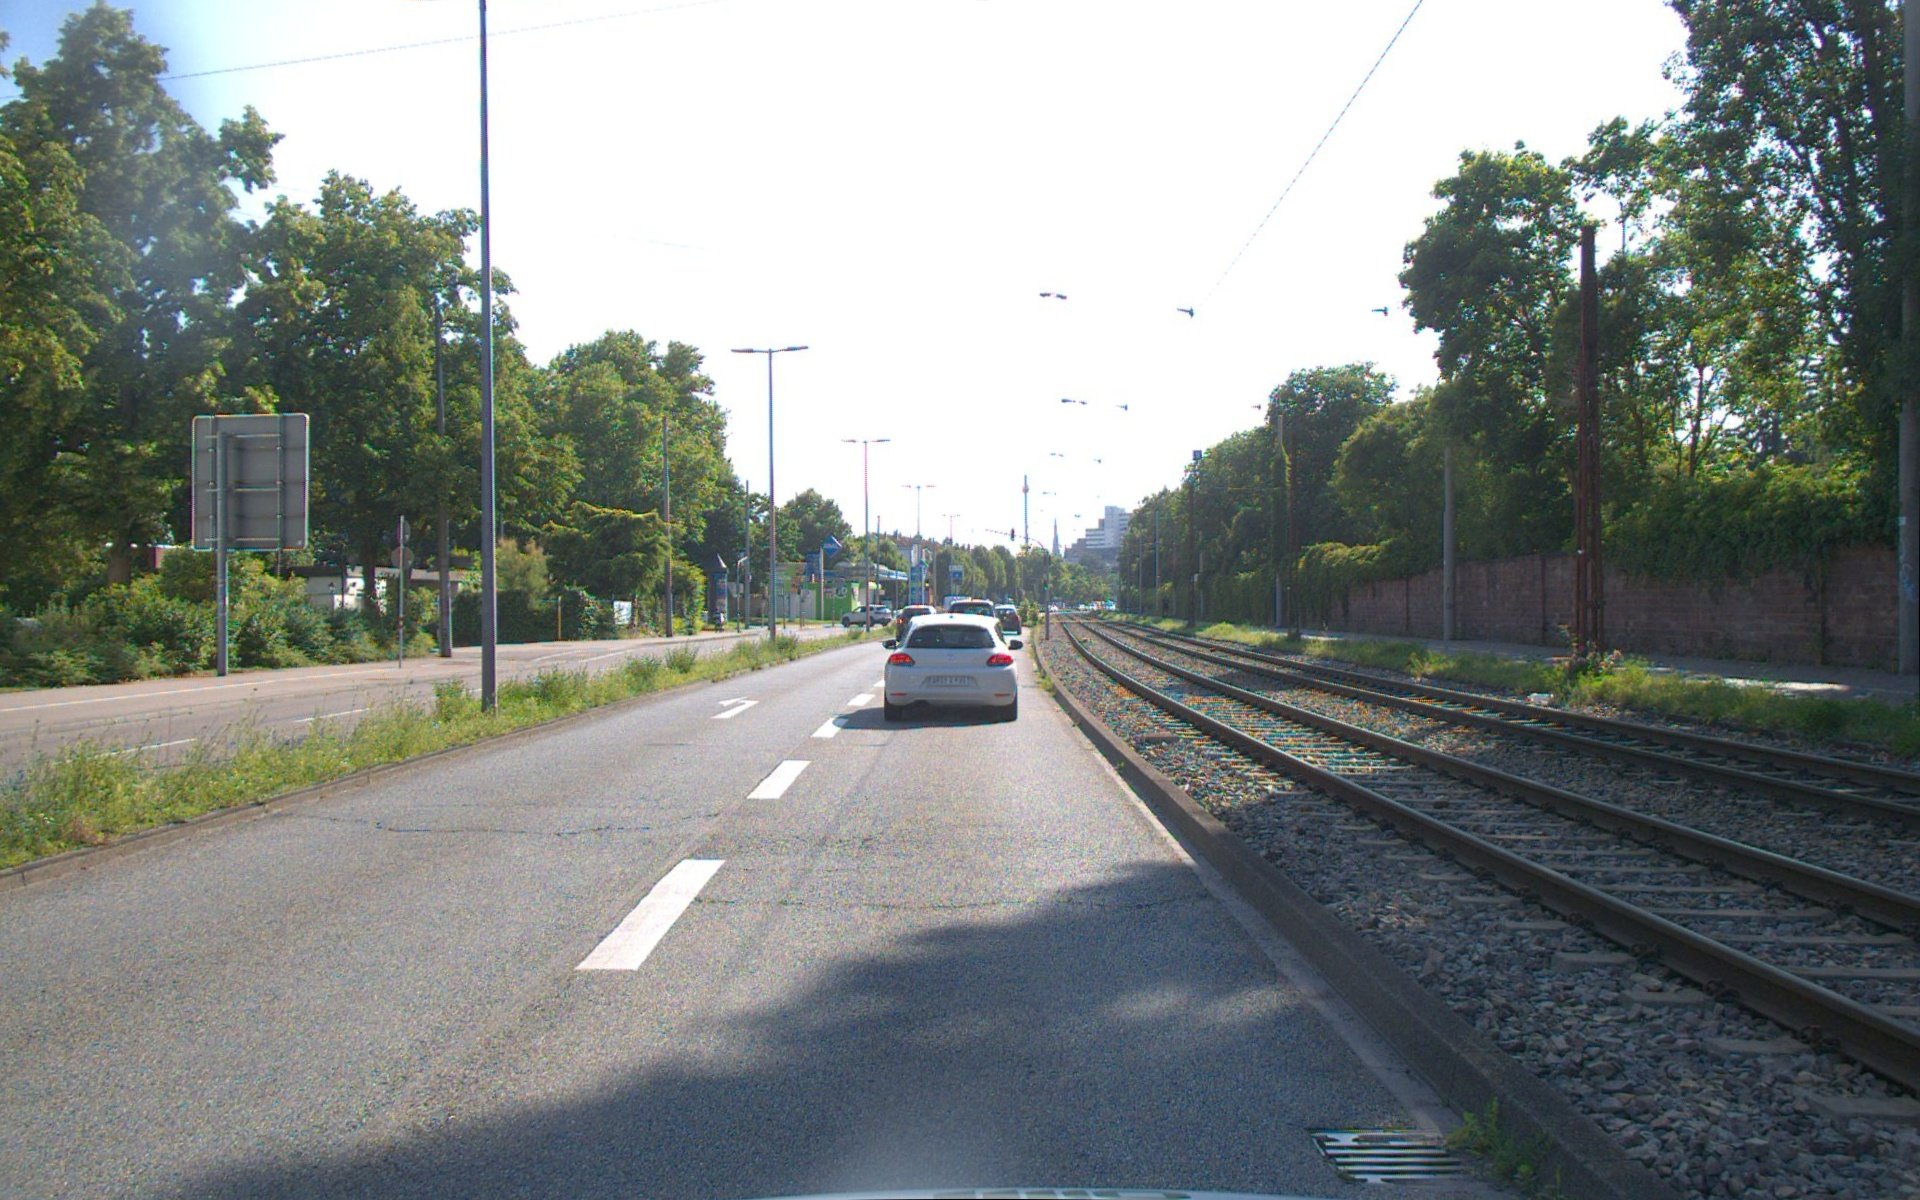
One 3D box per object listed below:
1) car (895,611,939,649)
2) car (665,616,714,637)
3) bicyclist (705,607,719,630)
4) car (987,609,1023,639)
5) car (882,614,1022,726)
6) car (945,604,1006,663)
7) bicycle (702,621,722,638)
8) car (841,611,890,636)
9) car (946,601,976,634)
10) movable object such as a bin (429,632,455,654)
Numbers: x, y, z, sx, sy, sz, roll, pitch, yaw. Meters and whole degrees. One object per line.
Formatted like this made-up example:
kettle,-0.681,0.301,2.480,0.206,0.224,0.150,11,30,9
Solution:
car,-1.800,1.269,70.333,1.724,1.512,4.644,1,-1,-1
car,-21.751,2.126,133.032,3.511,1.616,1.701,2,-1,13
bicyclist,-16.063,1.195,107.133,0.647,1.478,1.051,0,-1,6
car,2.332,1.240,86.984,1.713,1.512,3.600,1,-1,-1
car,-0.089,0.905,22.854,1.744,1.380,3.601,1,-1,0
car,0.422,0.962,48.477,1.689,1.621,3.600,1,-1,-1
bicycle,-16.067,1.879,107.054,0.647,1.068,2.582,0,-1,6
car,-7.305,1.802,127.668,1.641,1.764,3.892,3,-1,-41
car,0.075,1.102,103.899,1.780,1.997,4.403,0,-1,2
movable object such as a bin,-22.005,1.827,70.307,0.799,0.947,0.853,-1,-1,2
